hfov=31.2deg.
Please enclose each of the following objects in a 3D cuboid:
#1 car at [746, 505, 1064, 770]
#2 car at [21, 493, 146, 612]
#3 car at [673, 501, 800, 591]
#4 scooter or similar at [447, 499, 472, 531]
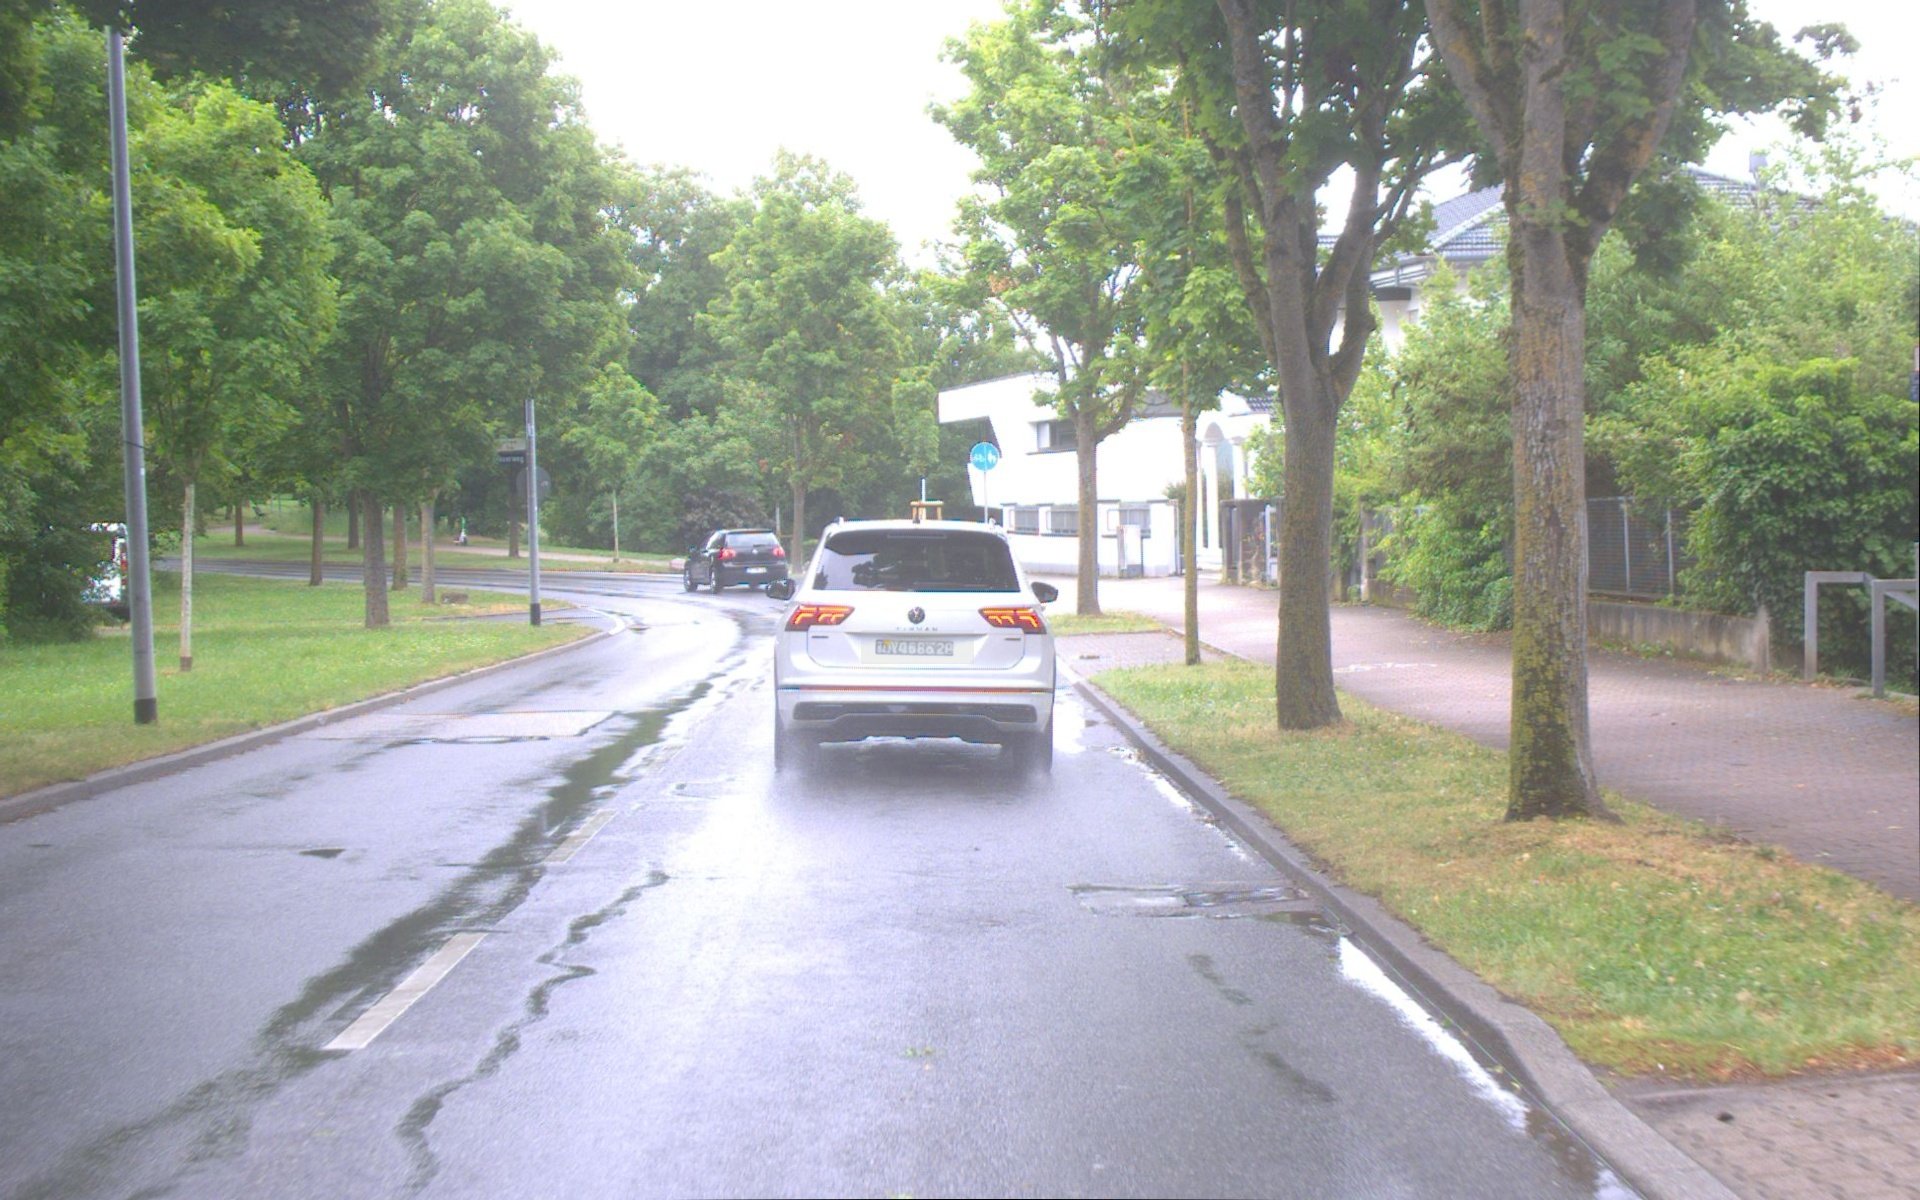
[{"bbox_3d":[-0.351,0.177,23.520,1.974,1.647,4.177,0,2,0],"label":"car"},{"bbox_3d":[-17.705,-1.015,69.617,2.127,1.979,5.477,-3,5,-12],"label":"car"},{"bbox_3d":[-5.203,-1.269,79.625,1.900,2.007,3.946,1,1,-20],"label":"car"},{"bbox_3d":[-18.331,-3.115,126.014,0.463,1.142,1.301,-4,4,-27],"label":"scooter or similar"}]
